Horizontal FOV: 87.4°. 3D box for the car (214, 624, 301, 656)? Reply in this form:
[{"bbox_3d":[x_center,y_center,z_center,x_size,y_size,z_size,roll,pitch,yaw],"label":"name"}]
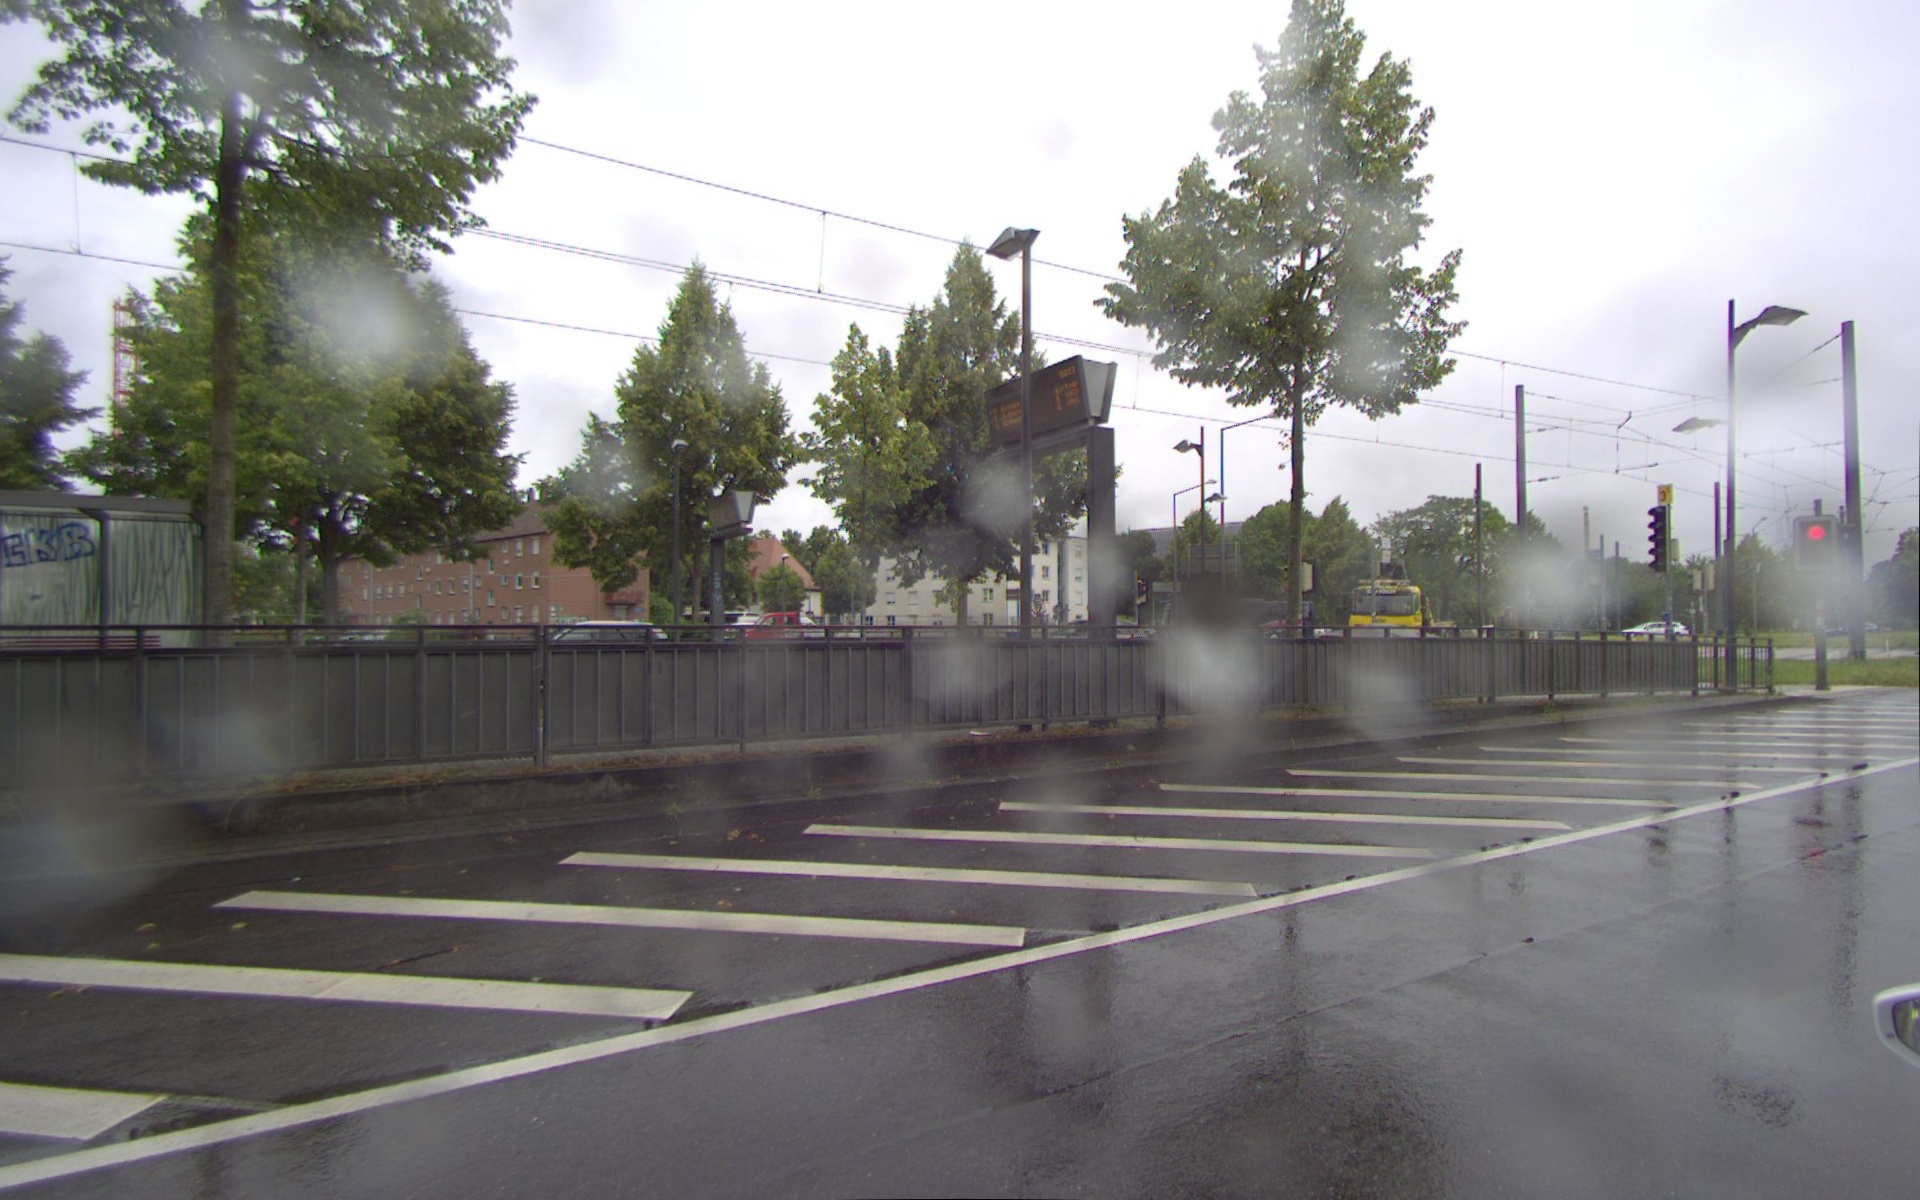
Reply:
[{"bbox_3d":[-44.262,2.512,63.312,4.387,1.902,1.856,1,0,-38],"label":"car"}]

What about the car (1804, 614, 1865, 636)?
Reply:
[{"bbox_3d":[67.800,1.929,77.927,3.427,1.563,1.616,2,0,37],"label":"car"}]

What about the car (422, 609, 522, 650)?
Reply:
[{"bbox_3d":[-31.120,1.879,64.148,5.442,2.486,1.979,1,0,-37],"label":"car"}]

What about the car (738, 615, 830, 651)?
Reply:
[{"bbox_3d":[-11.950,2.227,68.267,6.005,2.308,1.617,0,-1,-19],"label":"car"}]

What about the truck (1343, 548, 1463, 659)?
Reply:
[{"bbox_3d":[17.528,0.155,39.333,2.650,3.828,9.155,2,0,34],"label":"truck"}]

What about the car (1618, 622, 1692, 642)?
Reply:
[{"bbox_3d":[53.731,2.449,77.724,4.530,1.473,1.624,0,-1,3],"label":"car"}]

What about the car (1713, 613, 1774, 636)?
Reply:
[{"bbox_3d":[67.872,2.136,87.023,3.922,1.840,1.681,1,0,-1],"label":"car"}]

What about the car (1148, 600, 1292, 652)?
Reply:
[{"bbox_3d":[20.758,2.079,80.506,10.747,3.769,2.458,-2,-2,-1],"label":"car"}]

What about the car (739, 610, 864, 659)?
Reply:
[{"bbox_3d":[-8.418,1.793,53.477,6.390,2.503,1.616,0,-1,-21],"label":"car"}]

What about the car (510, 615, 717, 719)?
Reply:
[{"bbox_3d":[-7.408,1.353,21.565,3.953,2.040,1.748,0,-1,-30],"label":"car"}]
